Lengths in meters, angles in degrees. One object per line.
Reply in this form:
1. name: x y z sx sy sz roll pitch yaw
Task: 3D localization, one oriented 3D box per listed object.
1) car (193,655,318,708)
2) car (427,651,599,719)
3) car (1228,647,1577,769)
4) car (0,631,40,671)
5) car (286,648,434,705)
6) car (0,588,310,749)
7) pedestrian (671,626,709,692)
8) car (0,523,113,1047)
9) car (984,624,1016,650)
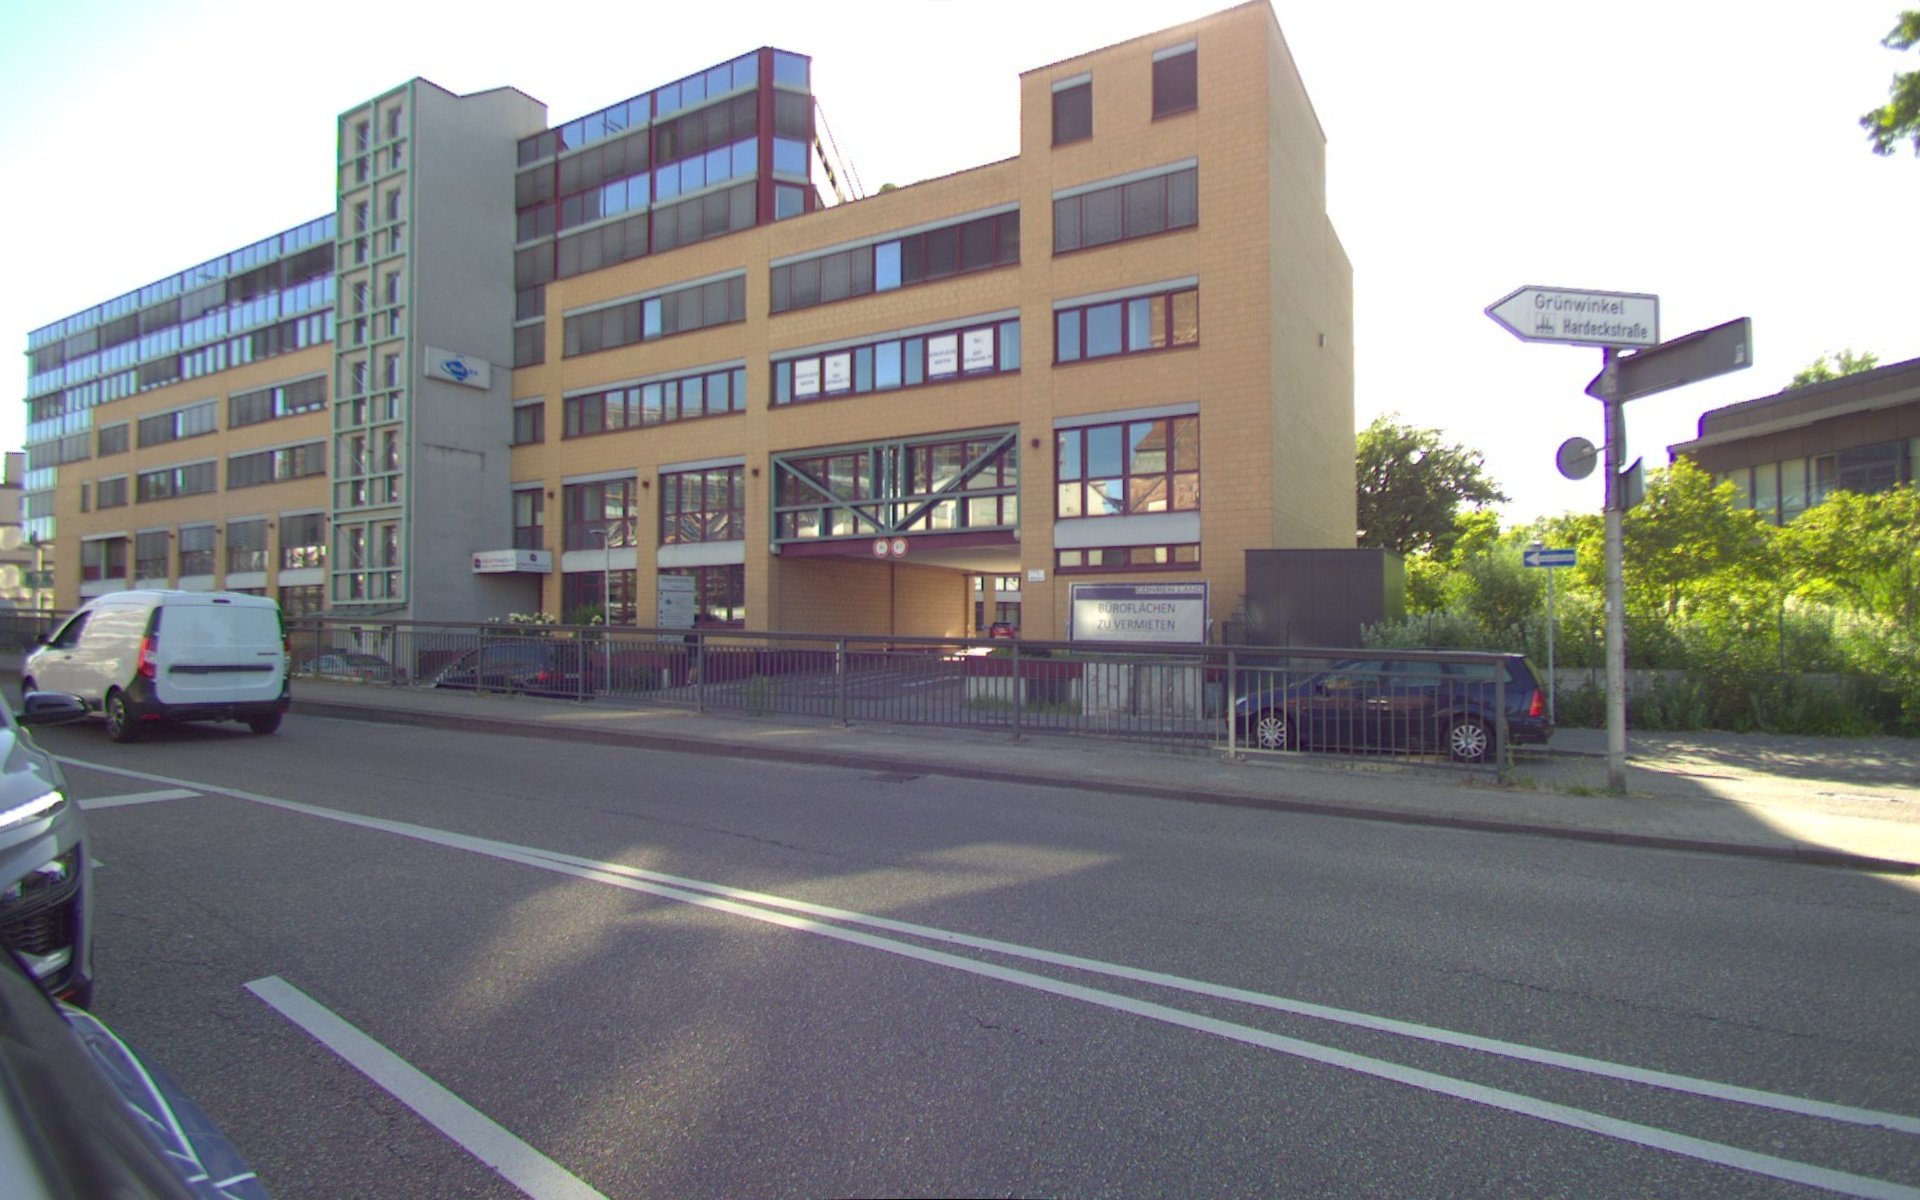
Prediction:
1. car: -22.804 2.597 32.740 3.986 1.576 1.865 -2 -3 32
2. car: -11.000 2.035 24.848 4.139 1.535 1.624 -2 -3 27
3. car: 6.286 1.504 14.608 4.367 1.520 1.640 -3 -5 34
4. car: -40.052 2.108 41.911 3.988 1.519 1.978 -1 0 33
5. car: -17.362 2.175 29.259 4.143 1.535 1.862 -2 -3 29
6. car: -10.508 0.791 13.026 4.473 1.769 1.818 -1 -2 31
7. pedestrian: -7.791 1.697 29.235 0.703 1.865 0.738 -2 -1 35
8. car: -4.993 0.614 4.088 4.196 1.634 1.854 -2 -3 42
9. car: 2.615 2.452 67.292 1.742 1.532 4.003 -1 0 -3
